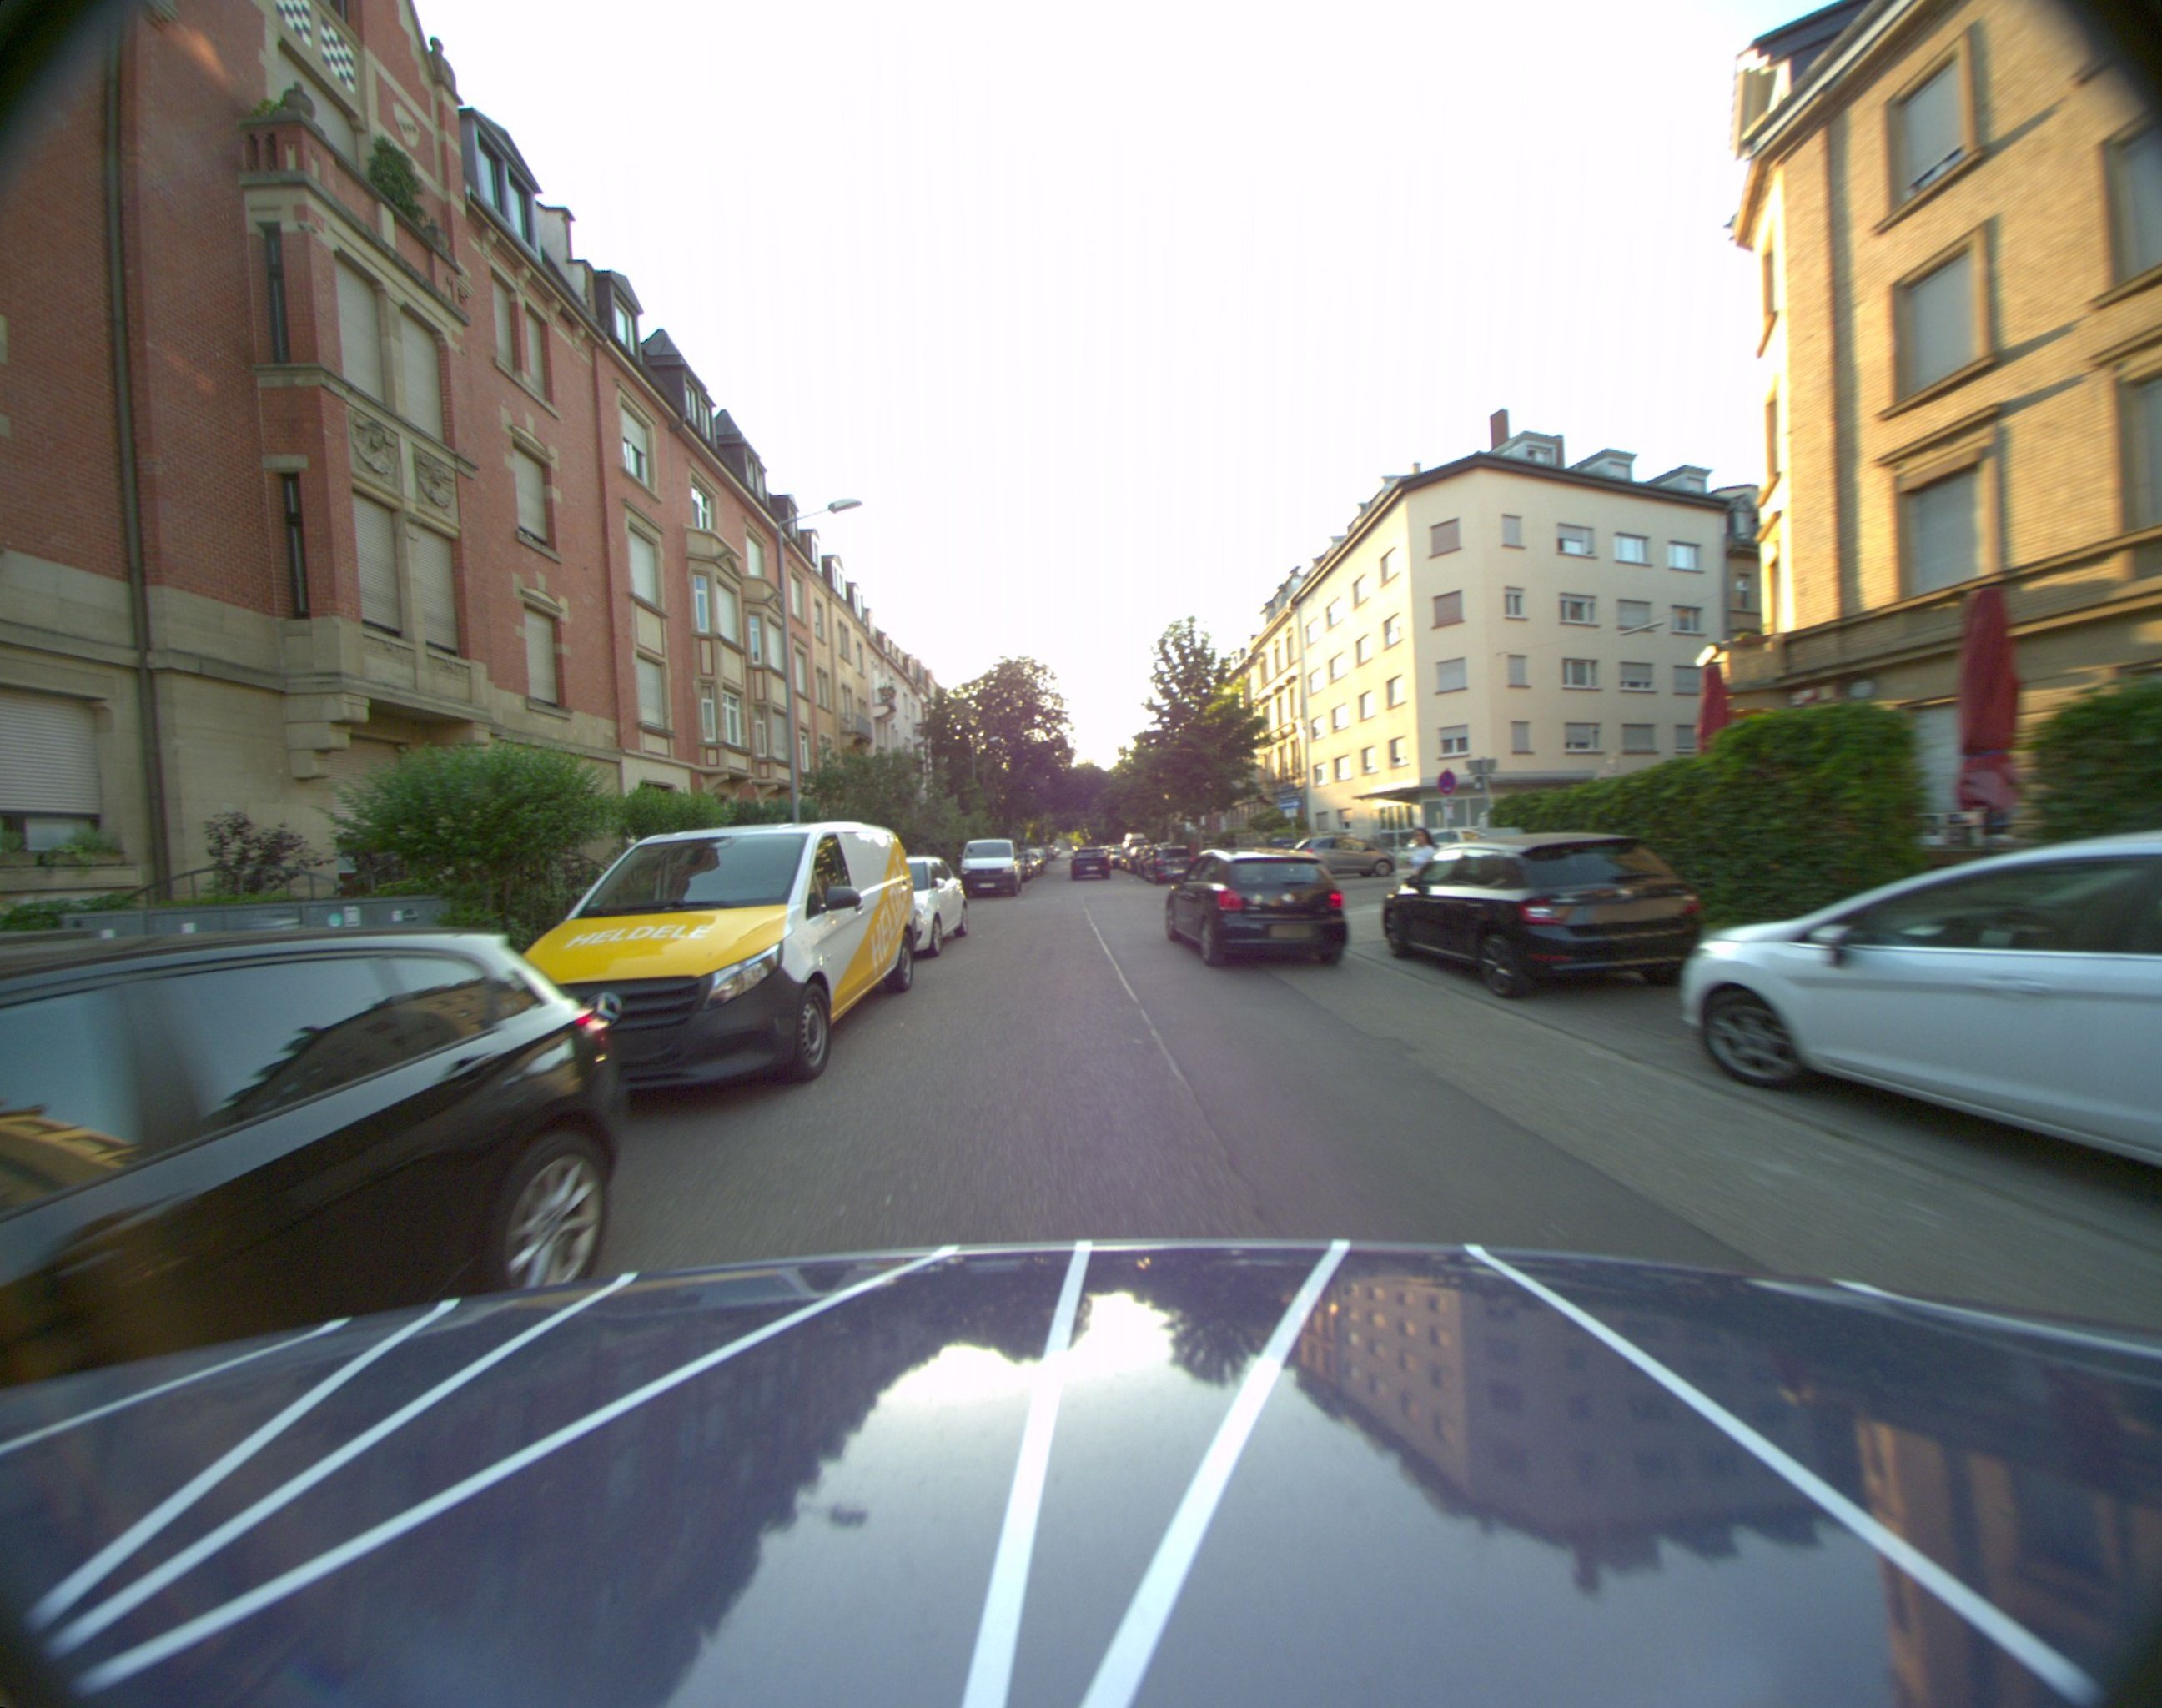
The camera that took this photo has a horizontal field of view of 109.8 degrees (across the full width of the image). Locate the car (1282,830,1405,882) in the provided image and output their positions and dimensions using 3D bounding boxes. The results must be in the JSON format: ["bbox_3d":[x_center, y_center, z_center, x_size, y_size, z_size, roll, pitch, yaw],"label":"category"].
[{"bbox_3d":[8.965,0.063,26.137,3.516,1.499,1.844,-4,0,-2],"label":"car"}]

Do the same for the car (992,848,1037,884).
[{"bbox_3d":[-3.293,0.569,38.444,1.724,1.542,4.324,-4,1,1],"label":"car"}]

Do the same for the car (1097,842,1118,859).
[{"bbox_3d":[2.735,-0.356,77.962,1.678,1.628,3.939,-4,1,-4],"label":"car"}]

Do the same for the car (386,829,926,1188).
[{"bbox_3d":[-2.858,0.814,6.754,1.898,1.873,5.080,-4,1,-1],"label":"car"}]

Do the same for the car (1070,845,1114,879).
[{"bbox_3d":[0.496,0.351,37.005,1.784,1.509,3.998,-2,1,-4],"label":"car"}]

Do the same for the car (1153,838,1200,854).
[{"bbox_3d":[9.475,-0.810,75.681,4.413,1.334,1.625,-4,1,0],"label":"car"}]

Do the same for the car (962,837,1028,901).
[{"bbox_3d":[-2.985,0.441,27.429,1.866,2.027,5.542,-1,1,-2],"label":"car"}]

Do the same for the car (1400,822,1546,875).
[{"bbox_3d":[13.559,-0.198,26.517,4.066,1.500,1.975,-4,1,11],"label":"car"}]

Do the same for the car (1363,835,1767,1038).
[{"bbox_3d":[4.597,0.627,8.004,1.708,1.525,3.843,-4,1,-1],"label":"car"}]

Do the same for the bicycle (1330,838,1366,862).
[{"bbox_3d":[12.990,-0.196,36.968,1.548,1.086,0.500,-5,2,-7],"label":"bicycle"}]

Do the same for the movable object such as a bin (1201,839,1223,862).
[{"bbox_3d":[8.203,-0.230,47.566,0.948,1.379,1.550,-5,1,-4],"label":"movable object such as a bin"}]

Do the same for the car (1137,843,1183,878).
[{"bbox_3d":[3.667,0.256,35.807,1.746,1.412,4.142,-4,1,1],"label":"car"}]

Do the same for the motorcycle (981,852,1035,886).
[{"bbox_3d":[-3.309,0.655,34.375,2.098,1.474,1.130,-2,2,-34],"label":"motorcycle"}]

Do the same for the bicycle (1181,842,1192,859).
[{"bbox_3d":[7.396,-0.243,53.194,0.457,1.103,1.633,-4,1,-1],"label":"bicycle"}]

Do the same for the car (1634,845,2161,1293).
[{"bbox_3d":[4.688,0.780,3.148,1.655,1.521,4.015,-4,1,-3],"label":"car"}]

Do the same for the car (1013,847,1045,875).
[{"bbox_3d":[-3.258,0.420,48.193,1.590,1.516,3.602,-4,1,1],"label":"car"}]

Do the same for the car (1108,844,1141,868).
[{"bbox_3d":[2.931,0.116,52.199,1.733,1.433,4.022,-4,1,-3],"label":"car"}]

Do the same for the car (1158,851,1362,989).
[{"bbox_3d":[2.183,0.714,10.350,1.657,1.447,3.939,0,1,-3],"label":"car"}]

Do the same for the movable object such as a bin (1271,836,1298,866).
[{"bbox_3d":[10.036,-0.158,37.478,0.868,1.345,1.398,-4,1,1],"label":"movable object such as a bin"}]

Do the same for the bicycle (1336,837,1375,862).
[{"bbox_3d":[13.121,-0.220,36.347,1.635,1.086,0.500,-5,2,-7],"label":"bicycle"}]

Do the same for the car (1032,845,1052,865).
[{"bbox_3d":[-3.647,0.047,71.284,1.737,1.692,4.166,-4,1,-3],"label":"car"}]

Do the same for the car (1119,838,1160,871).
[{"bbox_3d":[3.463,-0.010,45.962,1.866,1.769,4.621,-4,1,-2],"label":"car"}]

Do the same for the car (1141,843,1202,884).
[{"bbox_3d":[3.592,0.332,30.981,1.679,1.453,4.461,-4,1,-3],"label":"car"}]

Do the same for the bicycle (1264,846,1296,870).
[{"bbox_3d":[9.079,0.158,34.670,0.689,1.020,1.930,-5,1,-7],"label":"bicycle"}]

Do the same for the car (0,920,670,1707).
[{"bbox_3d":[-2.664,1.088,1.137,1.726,1.416,4.252,-4,1,-1],"label":"car"}]

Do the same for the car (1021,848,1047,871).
[{"bbox_3d":[-3.417,0.386,56.053,1.737,1.498,4.162,-4,1,-3],"label":"car"}]

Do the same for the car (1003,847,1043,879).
[{"bbox_3d":[-3.273,0.475,43.695,1.761,1.573,4.841,-4,1,1],"label":"car"}]

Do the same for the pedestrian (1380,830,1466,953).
[{"bbox_3d":[4.783,0.504,10.672,0.786,1.609,0.711,-4,2,1],"label":"pedestrian"}]

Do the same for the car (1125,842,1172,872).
[{"bbox_3d":[3.571,0.131,40.959,1.866,1.404,4.589,-4,1,-2],"label":"car"}]

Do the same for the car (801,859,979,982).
[{"bbox_3d":[-2.842,0.917,12.209,1.678,1.468,3.861,-4,1,2],"label":"car"}]

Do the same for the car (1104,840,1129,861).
[{"bbox_3d":[3.048,-0.295,66.409,1.866,1.653,4.020,-4,1,0],"label":"car"}]

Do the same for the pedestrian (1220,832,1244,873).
[{"bbox_3d":[6.655,-0.094,33.422,0.890,1.712,0.959,-4,2,14],"label":"pedestrian"}]

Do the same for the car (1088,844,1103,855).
[{"bbox_3d":[2.154,-0.694,111.626,1.953,1.484,3.737,-4,1,-1],"label":"car"}]
